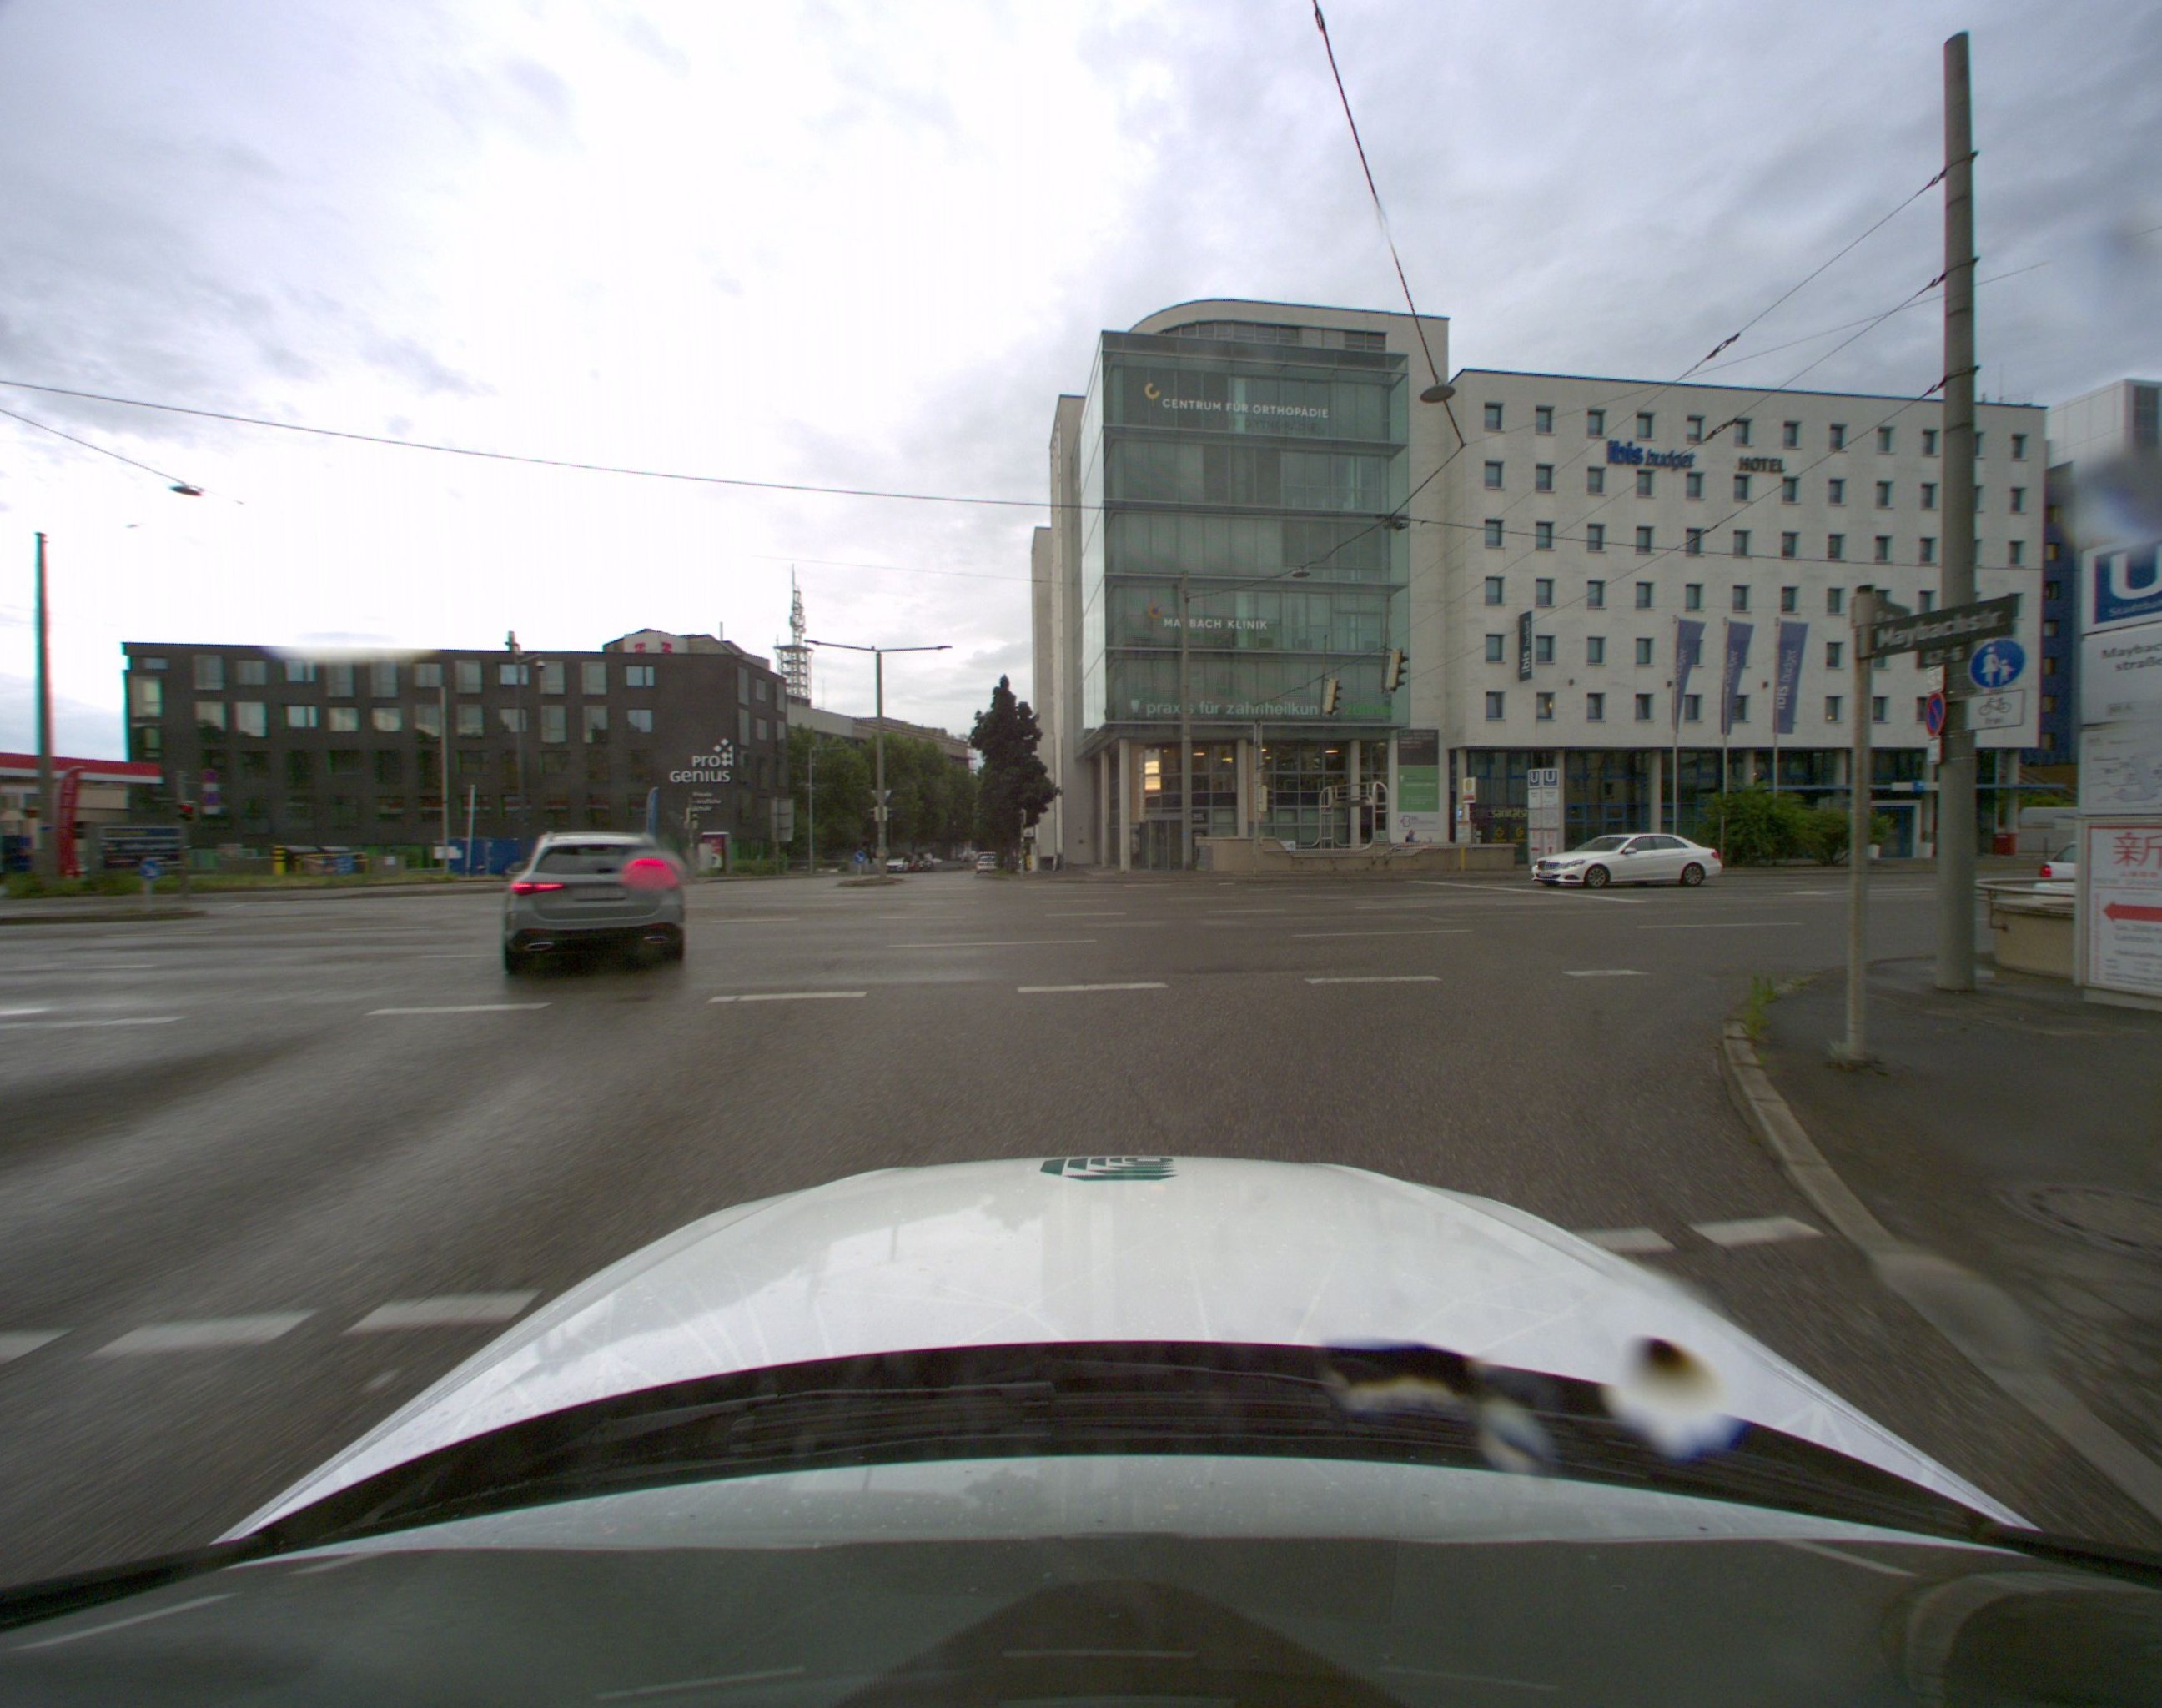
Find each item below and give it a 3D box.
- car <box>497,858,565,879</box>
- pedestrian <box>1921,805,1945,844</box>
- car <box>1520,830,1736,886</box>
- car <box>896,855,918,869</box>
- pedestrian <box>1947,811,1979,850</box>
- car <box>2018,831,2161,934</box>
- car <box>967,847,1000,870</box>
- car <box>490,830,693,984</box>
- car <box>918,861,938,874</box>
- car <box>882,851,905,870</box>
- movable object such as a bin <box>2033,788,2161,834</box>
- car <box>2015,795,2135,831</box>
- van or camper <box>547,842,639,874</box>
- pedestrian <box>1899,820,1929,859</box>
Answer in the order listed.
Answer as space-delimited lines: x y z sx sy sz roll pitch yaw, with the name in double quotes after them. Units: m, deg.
-35.729 0.943 53.015 1.792 1.288 3.995 1 -1 -3 "car"
45.288 -1.569 43.285 0.808 2.014 0.806 2 -1 -35 "pedestrian"
14.680 0.065 21.973 4.944 1.387 1.818 -1 1 -9 "car"
-19.960 0.889 93.619 1.674 1.594 3.855 1 -1 -1 "car"
46.717 -1.217 43.130 0.890 2.014 0.819 1 -1 22 "pedestrian"
17.610 0.383 13.079 3.767 1.473 1.671 -1 2 -10 "car"
-7.800 0.361 64.763 1.998 1.717 3.977 1 -1 -17 "car"
-6.389 0.504 10.945 1.919 1.632 4.173 -1 2 -28 "car"
-19.403 1.704 103.718 1.672 1.594 3.674 1 -1 2 "car"
-20.326 0.728 88.550 1.992 2.014 3.990 1 -1 -7 "car"
66.953 -2.765 53.407 2.153 2.628 5.630 1 -1 -7 "movable object such as a bin"
64.862 -2.631 53.287 1.885 2.014 4.716 1 -1 -7 "car"
-37.439 0.314 62.598 5.326 2.369 2.732 1 -1 -8 "van or camper"
43.809 -0.760 42.845 0.811 2.014 0.803 1 -1 -6 "pedestrian"
